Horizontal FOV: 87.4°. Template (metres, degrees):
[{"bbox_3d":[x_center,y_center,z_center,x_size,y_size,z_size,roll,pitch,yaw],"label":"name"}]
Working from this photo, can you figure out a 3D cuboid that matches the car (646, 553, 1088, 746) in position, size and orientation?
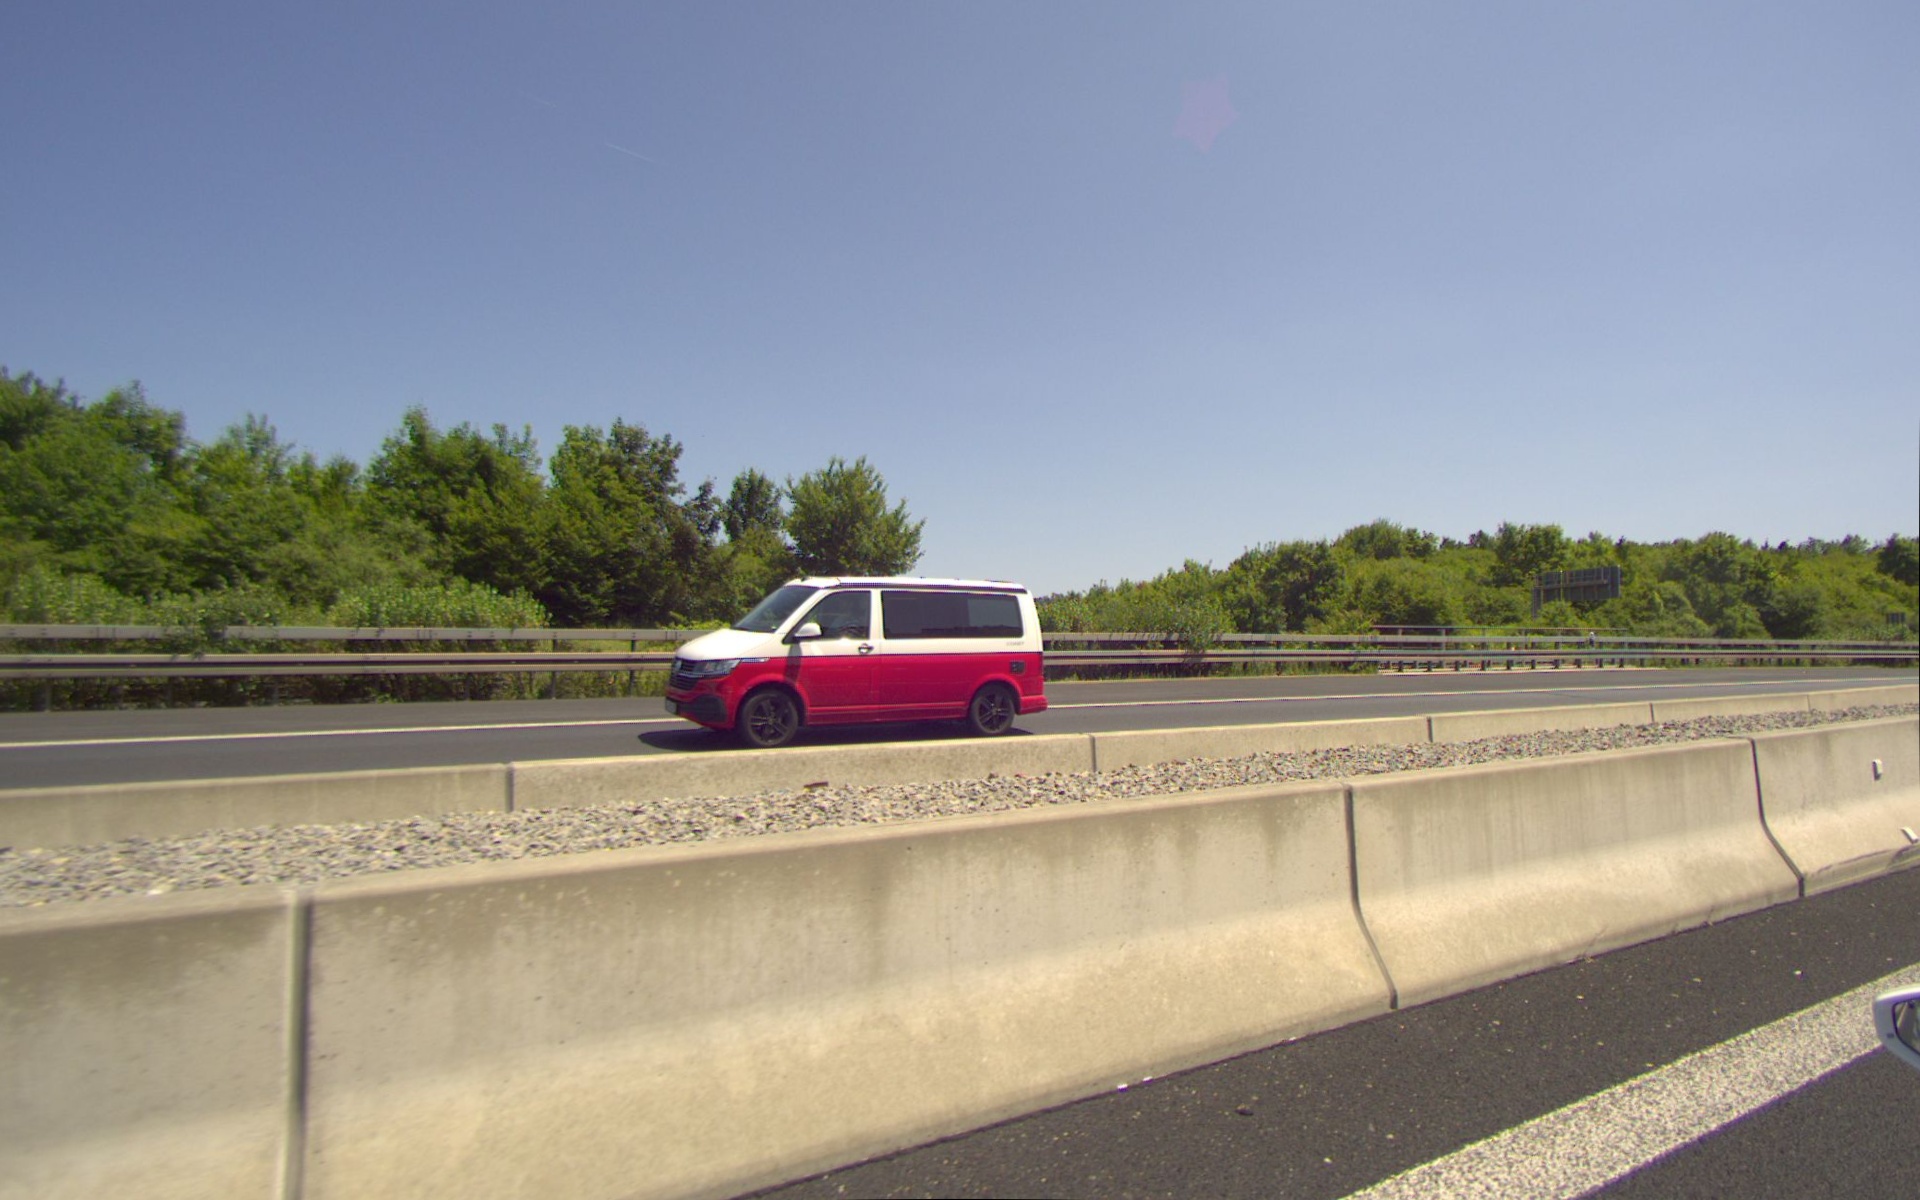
[{"bbox_3d":[-1.061,0.624,12.911,5.321,2.040,1.983,2,-1,-32],"label":"car"}]
